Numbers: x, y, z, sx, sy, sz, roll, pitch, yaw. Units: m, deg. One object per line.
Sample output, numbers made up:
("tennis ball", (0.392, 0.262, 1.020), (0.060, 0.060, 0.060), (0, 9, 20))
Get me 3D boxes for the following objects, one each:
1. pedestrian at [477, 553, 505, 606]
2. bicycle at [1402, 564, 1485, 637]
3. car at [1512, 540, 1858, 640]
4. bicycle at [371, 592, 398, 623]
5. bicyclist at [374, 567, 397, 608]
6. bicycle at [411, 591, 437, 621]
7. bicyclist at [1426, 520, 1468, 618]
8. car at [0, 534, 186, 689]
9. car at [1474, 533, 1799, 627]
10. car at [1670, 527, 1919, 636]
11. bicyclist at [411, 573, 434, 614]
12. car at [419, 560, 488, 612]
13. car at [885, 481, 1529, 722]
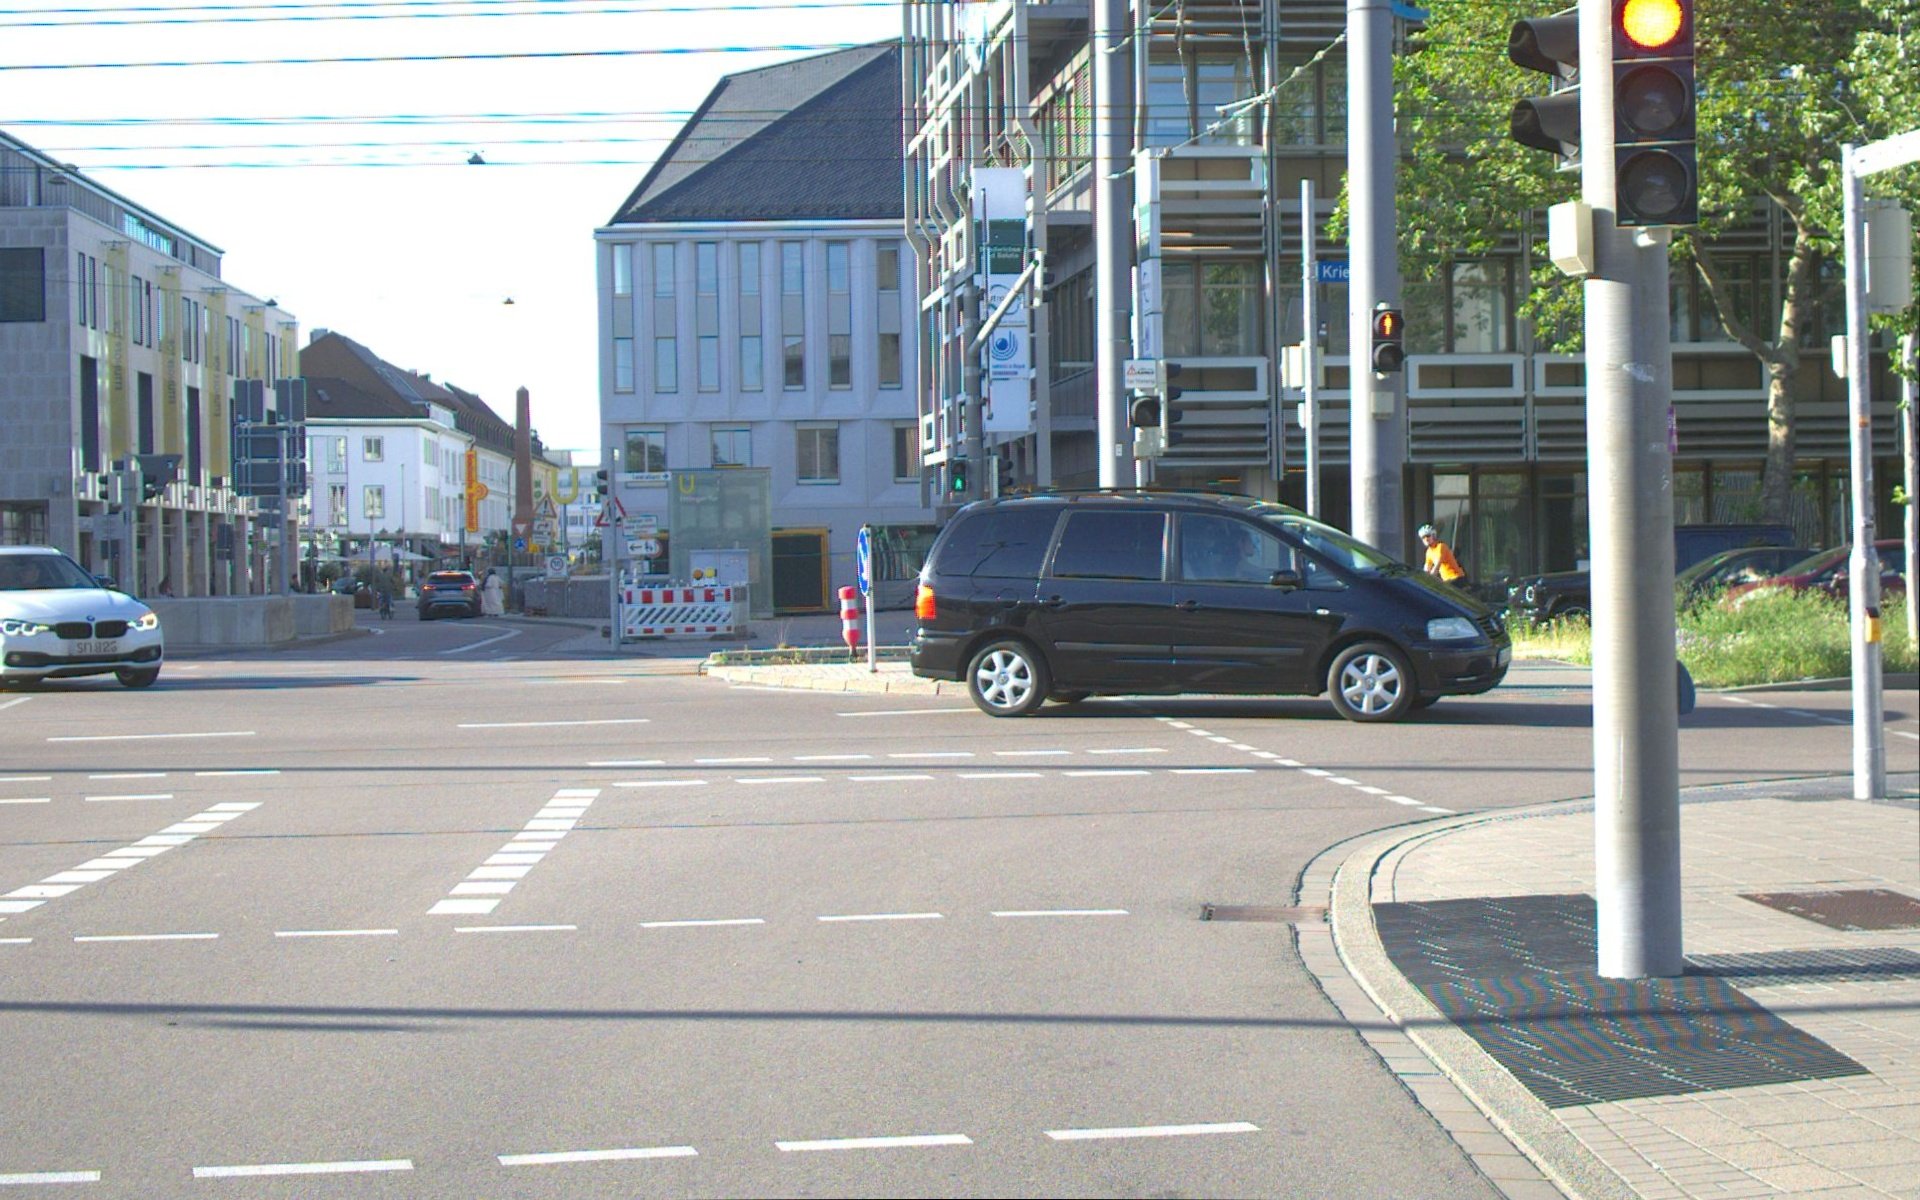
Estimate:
("pedestrian", (-14.793, -0.657, 108.491), (0.714, 1.662, 0.987), (-1, 1, -1))
("bicycle", (6.637, 0.004, 47.208), (1.076, 0.967, 0.458), (-1, 1, 1))
("car", (10.722, -0.164, 51.038), (4.630, 1.351, 2.001), (-1, 2, -5))
("bicycle", (-20.646, 0.253, 123.467), (0.741, 1.042, 2.432), (-1, 1, -5))
("bicyclist", (-20.630, -0.441, 123.449), (0.746, 1.456, 0.767), (-1, 1, -4))
("bicycle", (-19.368, 0.205, 124.241), (0.741, 1.042, 2.432), (-1, 1, -5))
("bicyclist", (6.685, -0.432, 47.205), (0.508, 1.334, 0.452), (-1, 1, 1))
("car", (-9.636, 0.066, 34.580), (1.994, 1.351, 4.646), (-2, 3, -35))
("car", (10.581, -0.333, 53.945), (4.630, 1.351, 2.001), (-1, 2, -5))
("car", (12.133, -0.274, 46.331), (4.630, 1.351, 2.001), (-1, 2, -5))
("bicyclist", (-19.368, -0.227, 123.940), (0.746, 1.456, 0.767), (-1, 1, -4))
("car", (-15.924, -0.453, 108.265), (1.993, 1.546, 4.001), (-1, 1, -7))
("car", (1.940, -0.032, 26.739), (4.635, 1.736, 1.998), (0, 2, 19))
